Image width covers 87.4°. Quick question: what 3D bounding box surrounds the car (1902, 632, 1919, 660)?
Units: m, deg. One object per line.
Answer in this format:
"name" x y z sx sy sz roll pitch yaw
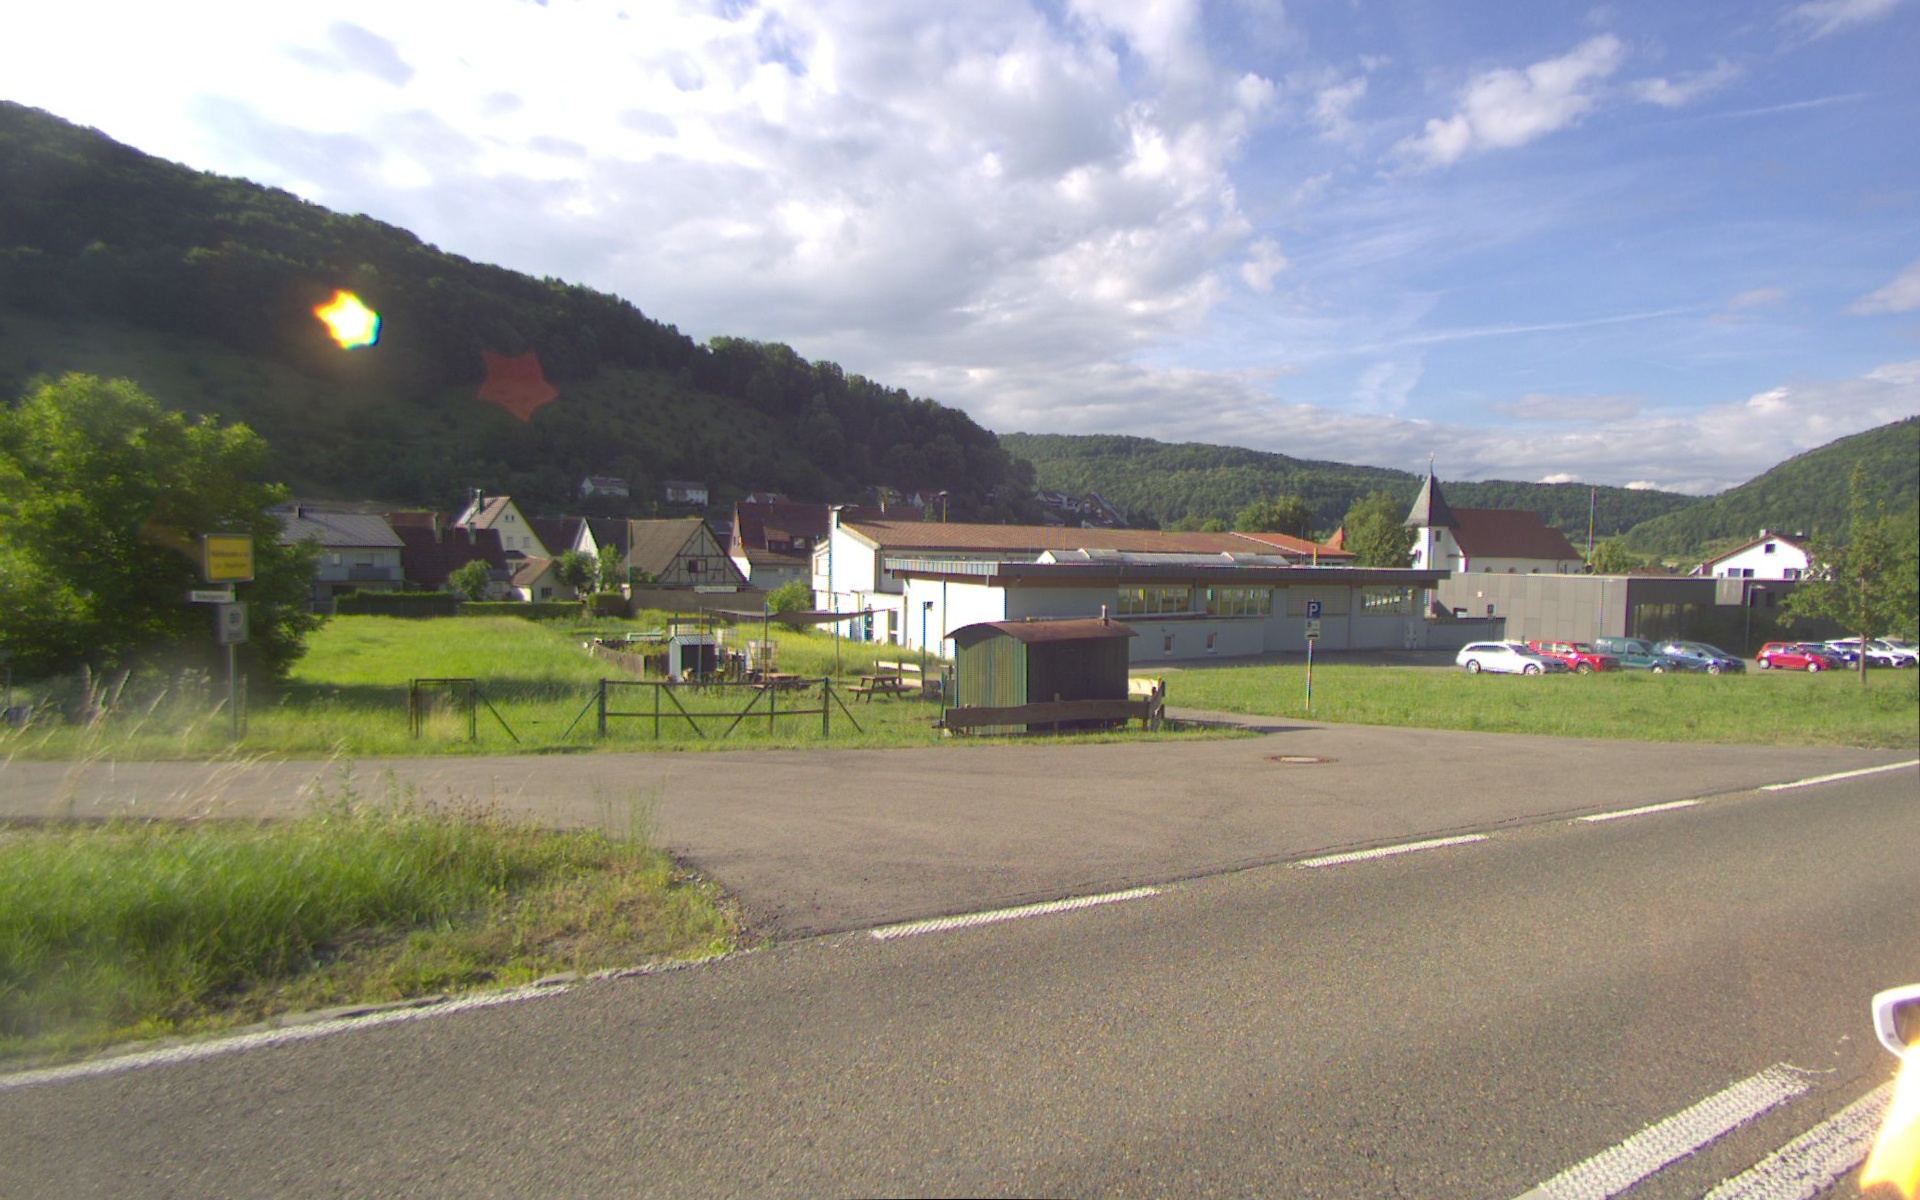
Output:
"car" 64.422 3.048 65.134 1.816 1.839 4.540 1 -1 -25

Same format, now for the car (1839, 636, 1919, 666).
"car" 56.776 3.066 61.561 1.575 1.695 4.065 1 -1 -25

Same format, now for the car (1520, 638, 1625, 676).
"car" 28.653 2.633 47.121 1.732 1.600 3.907 1 -1 -26

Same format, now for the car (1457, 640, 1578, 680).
"car" 25.753 2.741 46.553 1.974 1.610 4.626 1 -1 -26

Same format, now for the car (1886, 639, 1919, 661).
"car" 61.906 3.224 64.454 1.642 1.392 3.350 1 -1 -32

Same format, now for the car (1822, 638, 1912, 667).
"car" 53.942 3.124 59.791 1.575 1.514 3.656 -2 0 -25

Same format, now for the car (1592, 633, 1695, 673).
"car" 33.683 2.598 49.628 1.734 1.745 3.846 1 0 -28

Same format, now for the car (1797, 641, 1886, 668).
"car" 51.151 3.156 58.353 1.575 1.423 3.614 2 -1 -25

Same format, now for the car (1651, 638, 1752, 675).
"car" 37.868 2.849 51.380 1.709 1.744 3.806 1 -1 -26

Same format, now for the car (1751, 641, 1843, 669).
"car" 46.697 3.043 56.104 1.626 1.463 3.614 1 -1 -25
